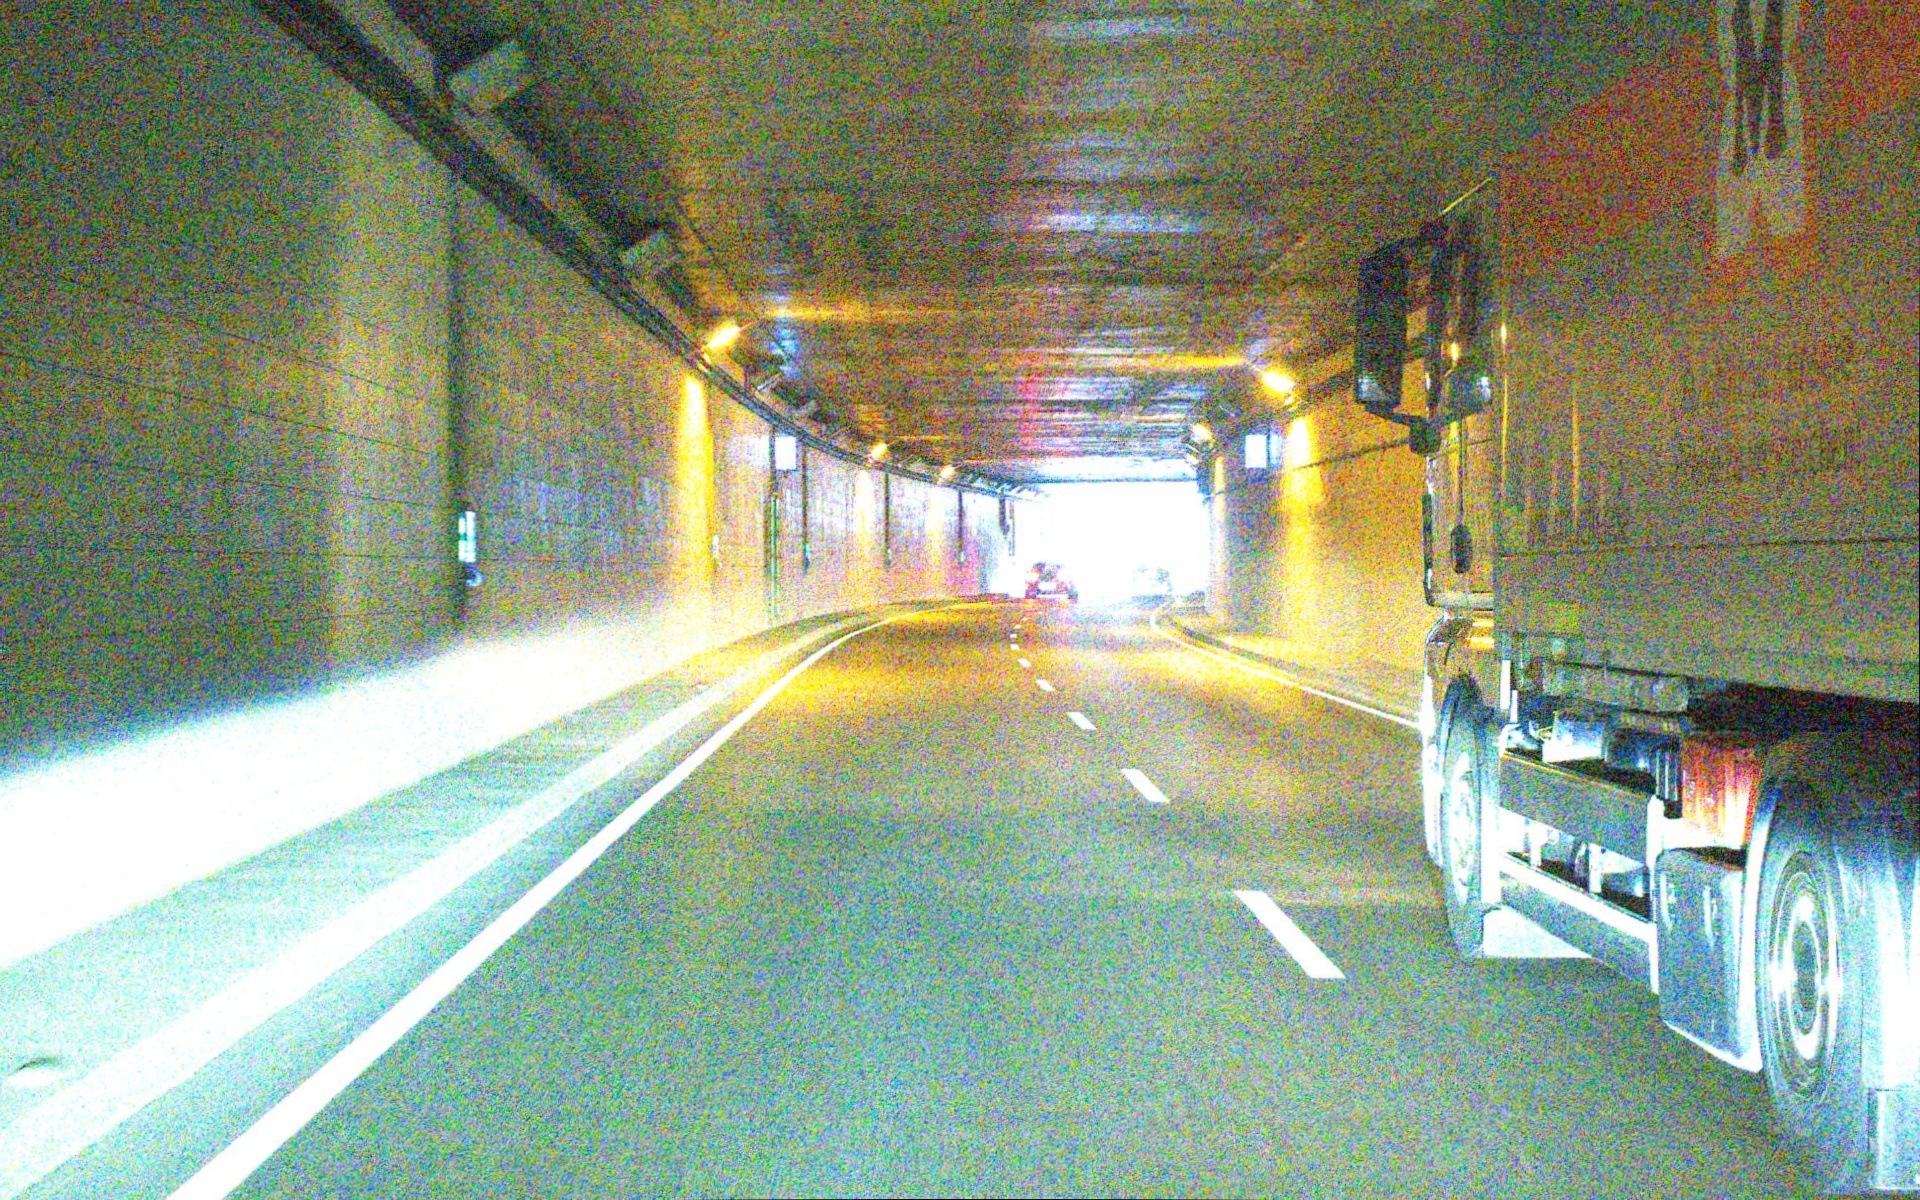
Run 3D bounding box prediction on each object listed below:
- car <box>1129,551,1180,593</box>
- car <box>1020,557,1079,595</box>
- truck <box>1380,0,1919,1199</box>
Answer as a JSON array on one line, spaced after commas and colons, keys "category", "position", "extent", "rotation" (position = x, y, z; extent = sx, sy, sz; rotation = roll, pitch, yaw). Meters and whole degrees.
[{"category": "car", "position": [8.375, -1.198, 147.787], "extent": [1.870, 1.726, 3.999], "rotation": [1, 0, 8]}, {"category": "car", "position": [3.380, -0.890, 128.768], "extent": [1.841, 1.384, 3.999], "rotation": [1, 0, 7]}, {"category": "truck", "position": [3.258, -0.543, 9.362], "extent": [2.889, 3.900, 9.909], "rotation": [1, 1, 0]}]
